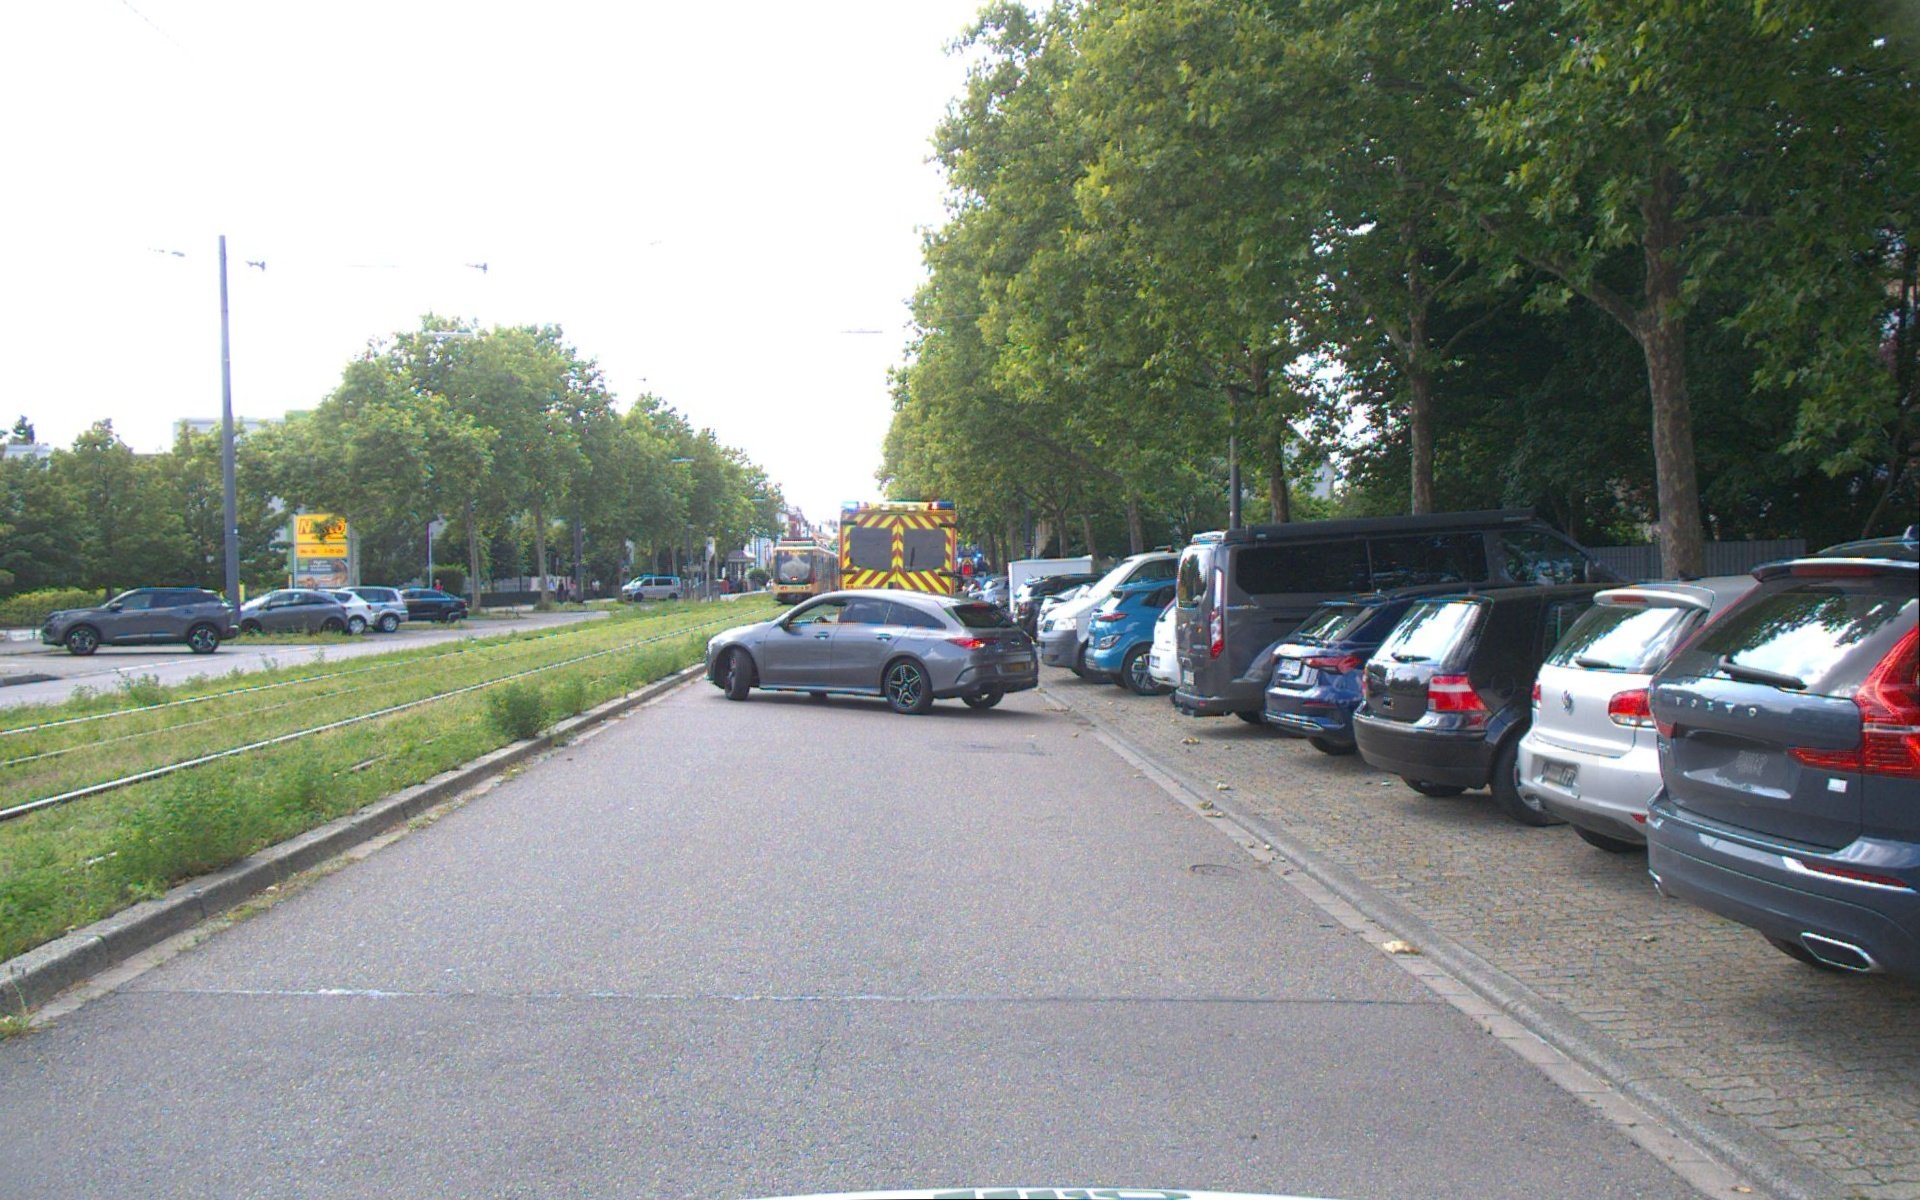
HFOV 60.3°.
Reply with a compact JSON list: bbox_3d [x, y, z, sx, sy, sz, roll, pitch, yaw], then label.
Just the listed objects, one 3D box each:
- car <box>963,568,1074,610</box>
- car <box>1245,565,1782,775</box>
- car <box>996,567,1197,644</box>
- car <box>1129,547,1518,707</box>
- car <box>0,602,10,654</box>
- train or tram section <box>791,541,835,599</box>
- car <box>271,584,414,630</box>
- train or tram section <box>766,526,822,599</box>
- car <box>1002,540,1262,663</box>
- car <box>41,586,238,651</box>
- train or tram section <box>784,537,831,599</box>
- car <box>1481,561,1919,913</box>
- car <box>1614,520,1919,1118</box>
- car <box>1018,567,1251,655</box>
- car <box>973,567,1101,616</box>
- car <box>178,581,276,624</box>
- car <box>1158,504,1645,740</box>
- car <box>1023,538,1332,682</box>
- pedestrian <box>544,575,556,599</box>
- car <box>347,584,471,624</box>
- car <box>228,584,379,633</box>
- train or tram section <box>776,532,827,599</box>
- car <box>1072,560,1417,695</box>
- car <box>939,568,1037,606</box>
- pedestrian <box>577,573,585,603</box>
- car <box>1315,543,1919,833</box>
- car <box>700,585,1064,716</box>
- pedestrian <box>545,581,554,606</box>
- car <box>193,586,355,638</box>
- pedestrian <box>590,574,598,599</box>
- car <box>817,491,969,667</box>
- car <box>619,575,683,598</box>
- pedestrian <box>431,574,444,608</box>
[{"bbox_3d":[2.475,-0.463,70.608,4.458,1.636,1.853,-2,1,-6],"label":"car"},{"bbox_3d":[4.520,0.540,13.883,3.886,1.520,1.755,-2,0,-3],"label":"car"},{"bbox_3d":[3.204,0.114,39.215,4.458,1.636,1.853,-2,1,-6],"label":"car"},{"bbox_3d":[4.512,0.307,20.969,4.455,1.797,1.855,-2,1,-3],"label":"car"},{"bbox_3d":[-31.086,0.824,49.778,3.905,1.592,1.777,1,0,0],"label":"car"},{"bbox_3d":[-9.791,-1.940,110.894,2.462,3.646,7.441,-2,0,-3],"label":"train or tram section"},{"bbox_3d":[-20.860,0.214,55.952,4.192,1.508,1.858,0,0,-38],"label":"car"},{"bbox_3d":[-8.810,-1.941,88.605,2.462,3.646,7.441,-2,0,-3],"label":"train or tram section"},{"bbox_3d":[3.131,0.007,30.577,4.458,2.079,1.853,-2,1,-6],"label":"car"},{"bbox_3d":[-19.738,0.425,39.926,4.171,1.508,1.867,0,0,-27],"label":"car"},{"bbox_3d":[-9.471,-1.941,103.461,2.462,3.646,7.441,-2,0,-3],"label":"train or tram section"},{"bbox_3d":[4.877,0.568,8.370,3.886,1.520,1.755,-2,1,-3],"label":"car"},{"bbox_3d":[4.689,0.537,5.525,4.292,1.668,1.756,-2,1,-1],"label":"car"},{"bbox_3d":[3.550,0.206,34.071,4.458,1.636,1.853,-2,1,-6],"label":"car"},{"bbox_3d":[2.798,-0.335,60.766,4.458,1.636,1.853,-2,1,-6],"label":"car"},{"bbox_3d":[-32.371,0.081,73.040,3.912,1.780,1.997,2,1,29],"label":"car"},{"bbox_3d":[4.424,0.191,17.020,4.455,2.160,1.855,-2,1,-3],"label":"car"},{"bbox_3d":[3.357,0.131,25.991,4.458,2.035,1.853,-2,1,-6],"label":"car"},{"bbox_3d":[-27.572,-0.862,111.242,0.620,1.578,0.621,-1,1,-5],"label":"pedestrian"},{"bbox_3d":[-21.337,0.143,64.141,4.199,1.508,1.854,0,0,-42],"label":"car"},{"bbox_3d":[-20.974,0.249,52.904,4.192,1.508,1.858,0,0,-38],"label":"car"},{"bbox_3d":[-9.145,-1.941,96.026,2.462,3.646,7.441,-2,0,-3],"label":"train or tram section"},{"bbox_3d":[3.975,0.354,23.481,4.459,1.689,1.853,-2,1,-7],"label":"car"},{"bbox_3d":[1.323,-0.611,78.798,4.458,1.636,1.853,-2,1,-6],"label":"car"},{"bbox_3d":[-22.541,-0.700,98.390,0.413,1.760,0.467,-1,1,-7],"label":"pedestrian"},{"bbox_3d":[4.568,0.492,11.080,3.897,1.633,1.750,-2,1,-13],"label":"car"},{"bbox_3d":[-1.036,0.563,20.746,4.376,1.409,1.761,2,1,34],"label":"car"},{"bbox_3d":[-25.376,-0.403,102.253,0.413,1.499,0.467,-1,1,-7],"label":"pedestrian"},{"bbox_3d":[-20.720,0.335,50.027,4.192,1.508,1.858,0,0,-38],"label":"car"},{"bbox_3d":[-27.033,-1.009,122.094,0.457,1.860,0.422,-1,1,-4],"label":"pedestrian"},{"bbox_3d":[-1.226,-0.406,32.417,2.588,3.018,6.299,2,0,-1],"label":"car"},{"bbox_3d":[-24.020,-1.062,128.589,4.588,1.661,1.855,-2,1,-42],"label":"car"},{"bbox_3d":[-26.471,-0.446,83.858,0.457,1.706,0.603,-1,1,-4],"label":"pedestrian"}]
